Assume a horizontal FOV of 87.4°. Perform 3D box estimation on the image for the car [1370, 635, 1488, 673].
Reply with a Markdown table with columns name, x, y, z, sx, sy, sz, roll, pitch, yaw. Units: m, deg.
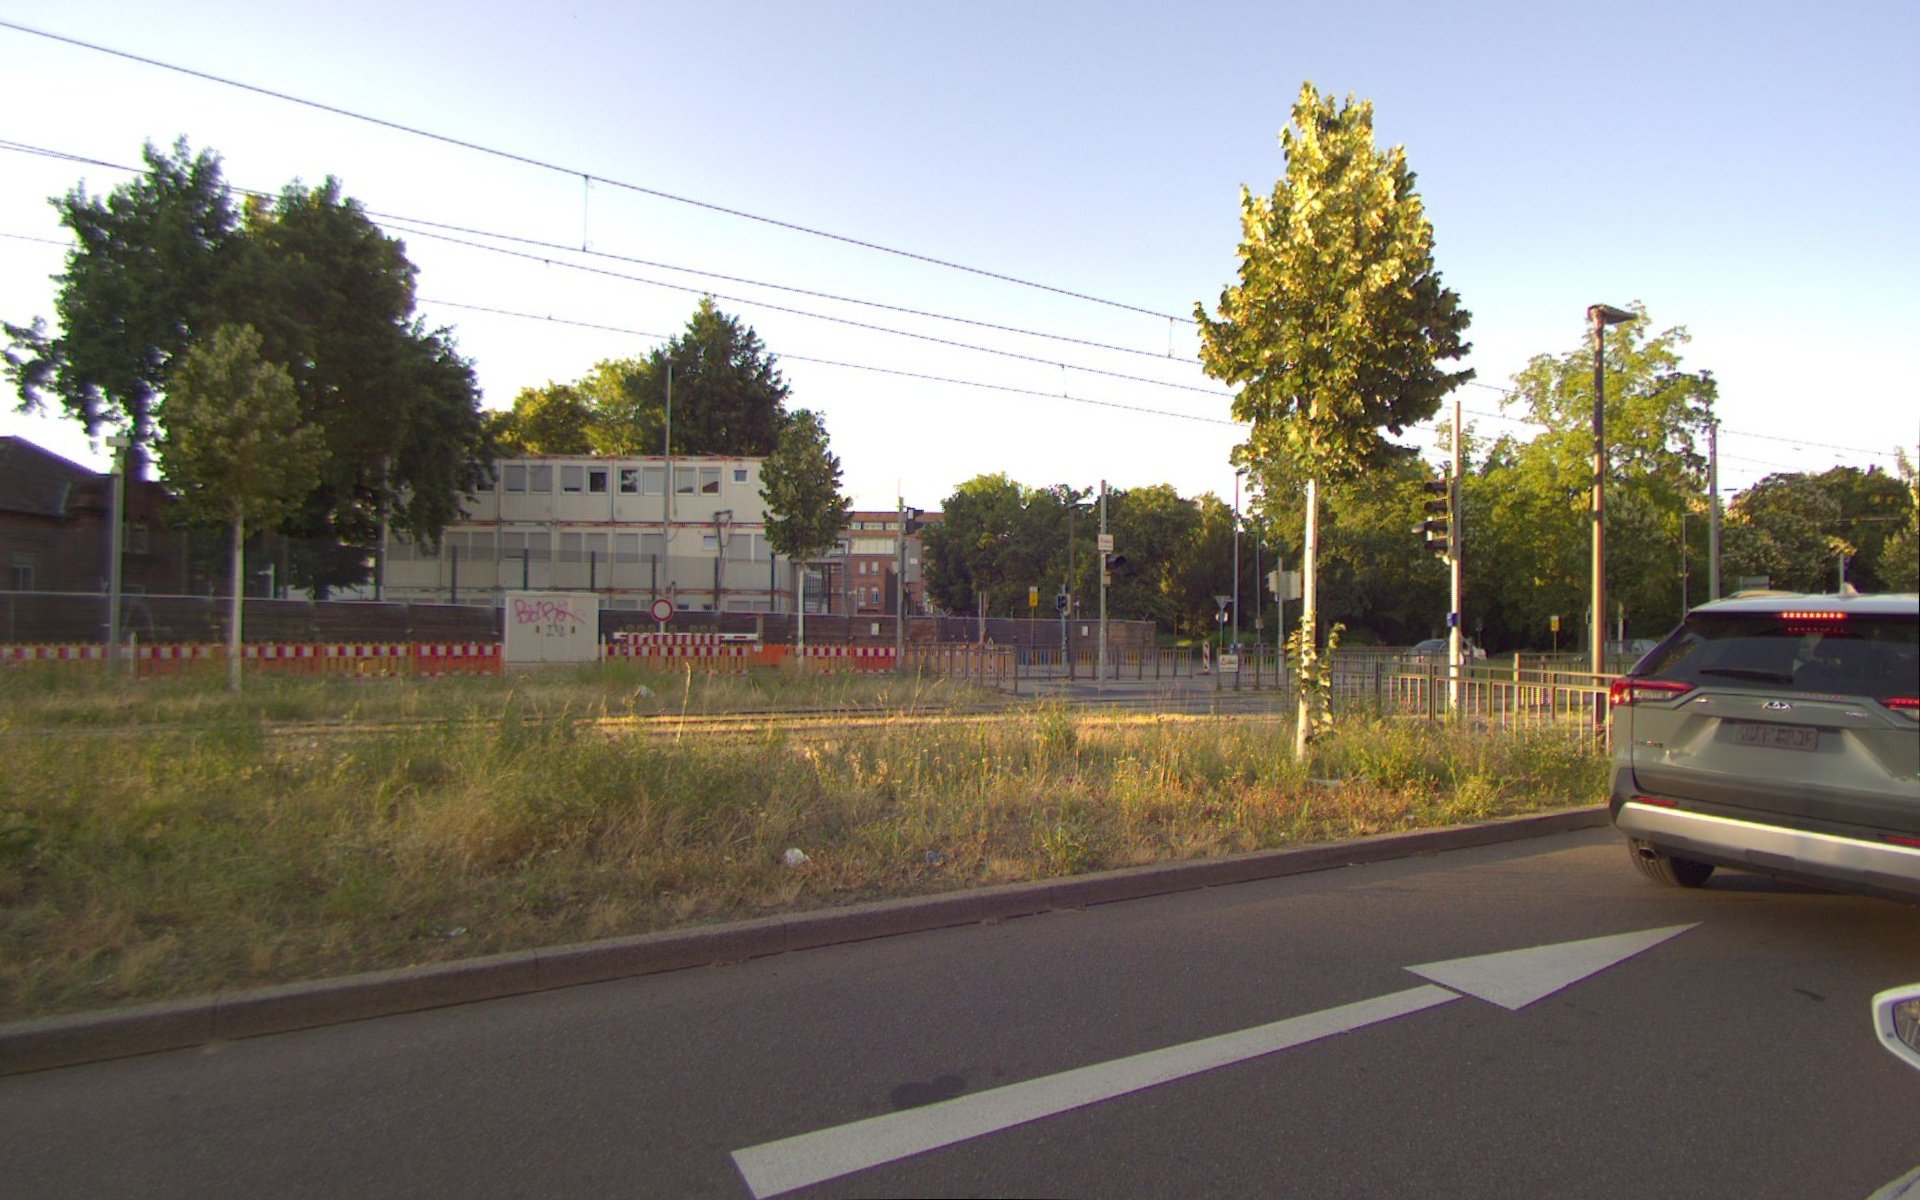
| name | x | y | z | sx | sy | sz | roll | pitch | yaw |
| --- | --- | --- | --- | --- | --- | --- | --- | --- | --- |
| car | 20.375 | 2.308 | 43.677 | 4.447 | 1.501 | 1.994 | 0 | 0 | -15 |

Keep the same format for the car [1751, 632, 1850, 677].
| name | x | y | z | sx | sy | sz | roll | pitch | yaw |
| --- | --- | --- | --- | --- | --- | --- | --- | --- | --- |
| car | 43.537 | 2.785 | 52.032 | 4.681 | 2.197 | 1.989 | 0 | 0 | -22 |

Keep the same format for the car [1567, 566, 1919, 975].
| name | x | y | z | sx | sy | sz | roll | pitch | yaw |
| --- | --- | --- | --- | --- | --- | --- | --- | --- | --- |
| car | 5.499 | 0.708 | 5.636 | 4.219 | 1.681 | 1.845 | 0 | 0 | -31 |
